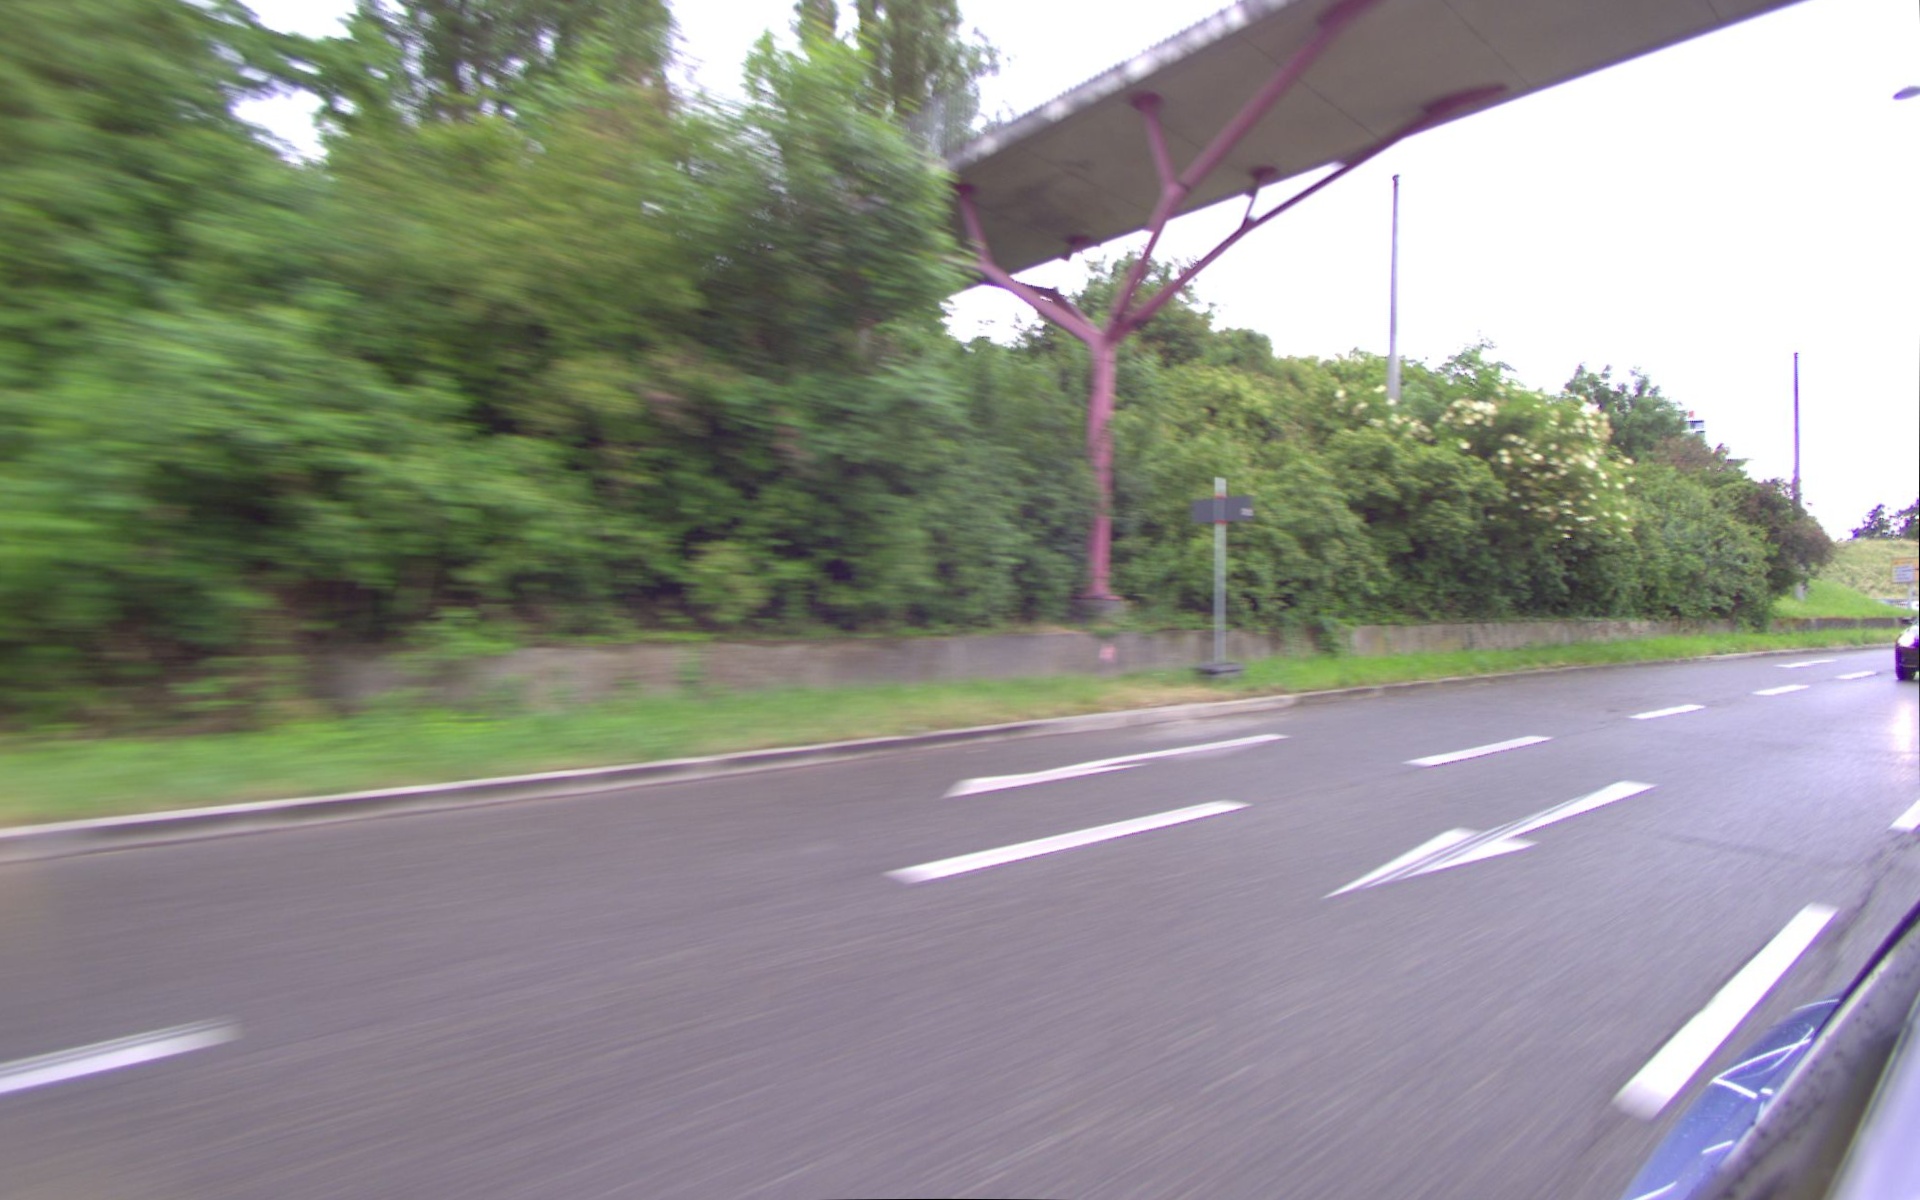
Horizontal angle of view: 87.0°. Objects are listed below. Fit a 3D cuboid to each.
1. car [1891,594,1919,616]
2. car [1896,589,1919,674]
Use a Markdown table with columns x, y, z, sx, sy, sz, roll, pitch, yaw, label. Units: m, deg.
| x | y | z | sx | sy | sz | roll | pitch | yaw | label |
| --- | --- | --- | --- | --- | --- | --- | --- | --- | --- |
| 66.426 | 0.361 | 68.747 | 4.202 | 1.447 | 2.069 | 2 | -1 | 9 | car |
| 20.508 | 0.596 | 20.162 | 4.198 | 1.621 | 1.928 | 0 | 0 | -36 | car |
